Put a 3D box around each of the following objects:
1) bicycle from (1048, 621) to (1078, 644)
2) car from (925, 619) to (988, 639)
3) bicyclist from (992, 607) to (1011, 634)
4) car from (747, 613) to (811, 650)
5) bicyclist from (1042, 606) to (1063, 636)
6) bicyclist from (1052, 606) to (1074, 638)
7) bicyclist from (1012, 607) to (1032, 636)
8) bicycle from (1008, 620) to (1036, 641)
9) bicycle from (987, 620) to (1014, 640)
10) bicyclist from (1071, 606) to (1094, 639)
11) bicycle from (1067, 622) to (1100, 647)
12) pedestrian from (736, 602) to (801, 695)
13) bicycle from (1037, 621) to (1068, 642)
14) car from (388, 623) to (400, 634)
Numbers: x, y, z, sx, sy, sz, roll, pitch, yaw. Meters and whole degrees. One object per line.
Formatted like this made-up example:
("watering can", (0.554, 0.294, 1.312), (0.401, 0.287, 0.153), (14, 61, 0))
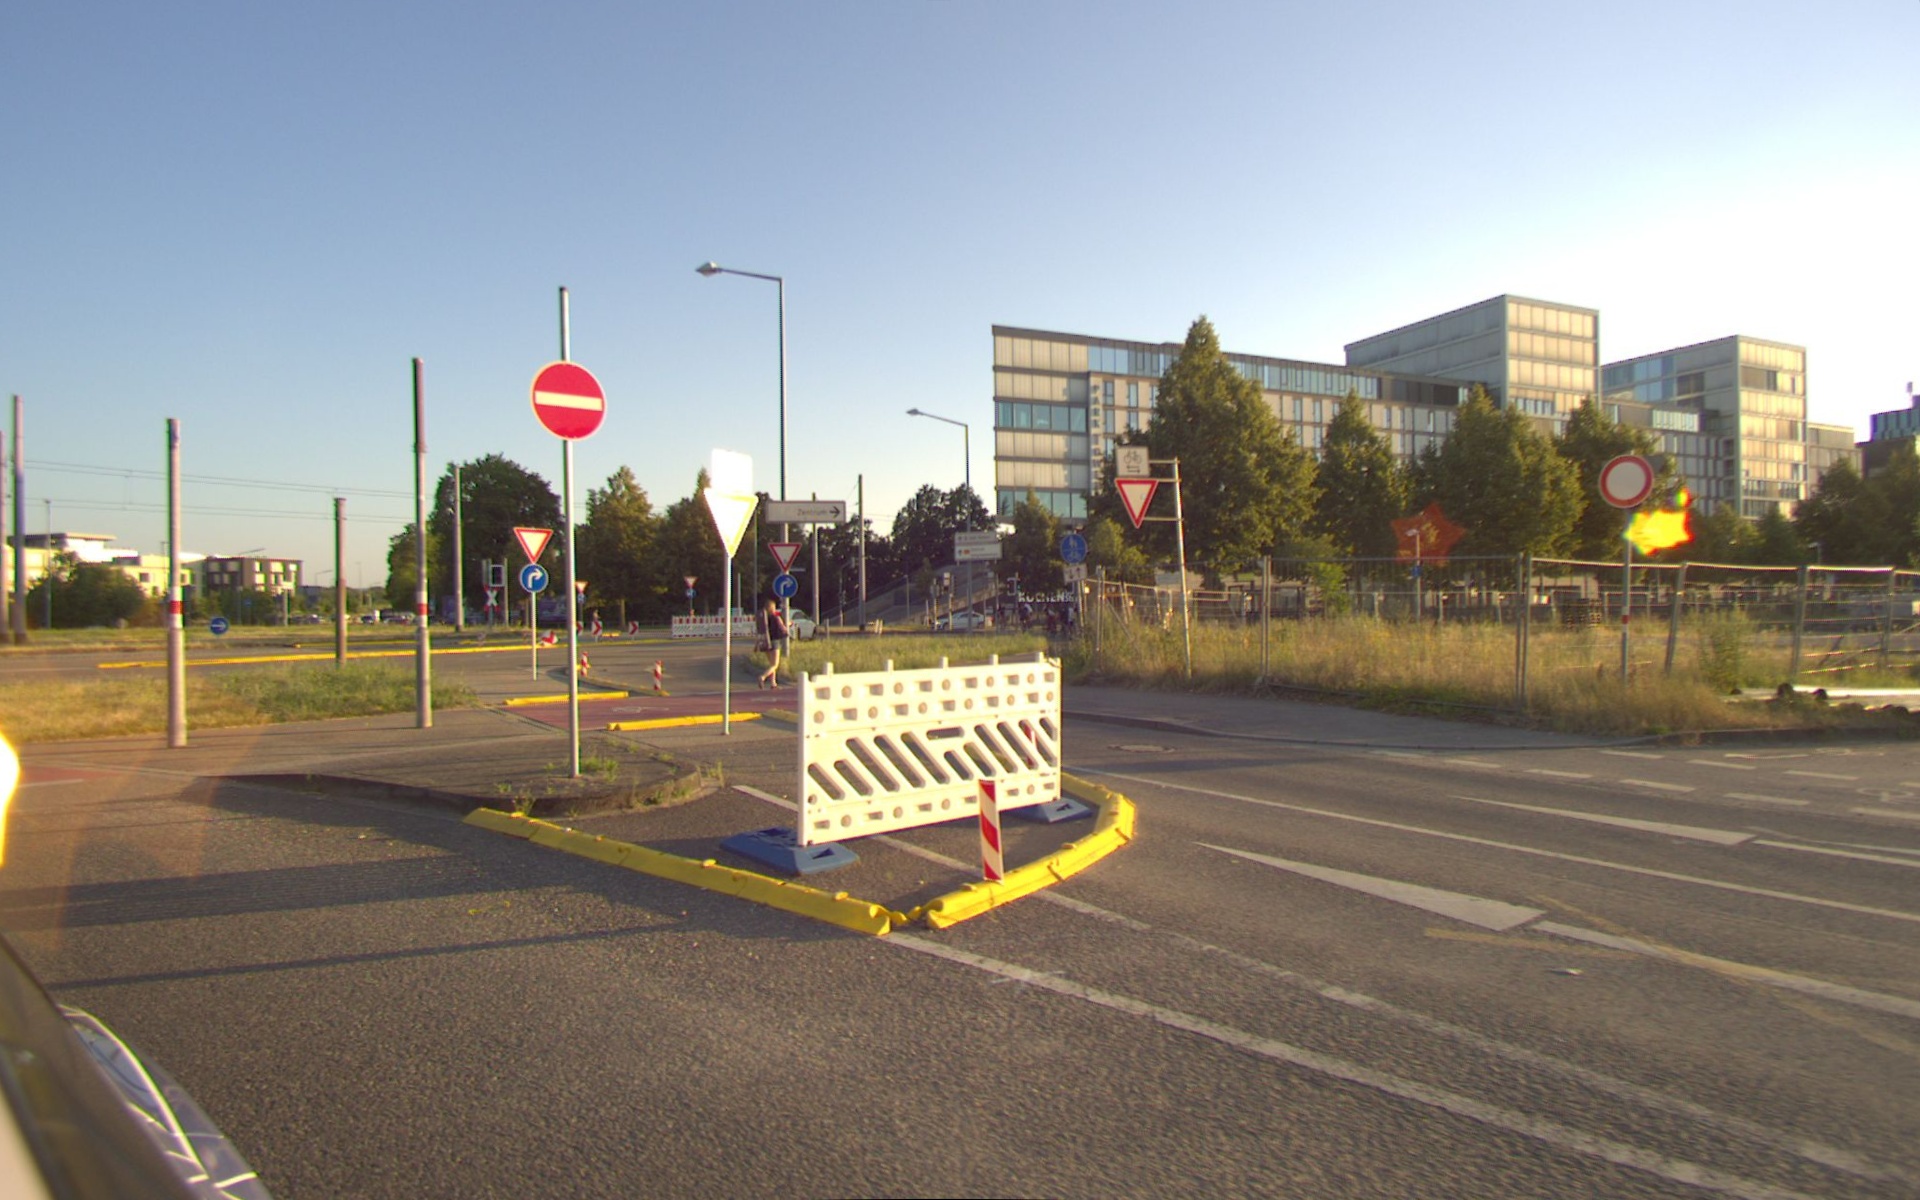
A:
("bicycle", (4.914, 1.539, 48.446), (0.689, 1.052, 2.085), (0, -1, -17))
("car", (-0.275, 2.230, 78.835), (4.513, 1.432, 1.828), (0, -1, -26))
("bicyclist", (2.286, 1.144, 56.048), (0.689, 1.502, 0.977), (0, -1, -21))
("car", (-7.728, 1.338, 43.548), (1.612, 1.475, 3.992), (-1, 0, 6))
("bicyclist", (4.647, 1.073, 51.079), (0.689, 1.502, 0.977), (0, -1, -21))
("bicyclist", (4.916, 1.041, 48.427), (0.689, 1.502, 0.977), (0, -1, -17))
("bicyclist", (3.227, 1.105, 53.022), (0.689, 1.502, 0.977), (0, -1, -21))
("bicycle", (3.237, 1.602, 52.987), (0.689, 1.052, 2.086), (0, -1, -21))
("bicycle", (2.236, 1.643, 56.173), (0.689, 1.052, 2.086), (0, -1, -21))
("bicyclist", (5.552, 1.008, 45.766), (0.689, 1.502, 0.977), (0, -1, -17))
("bicycle", (5.571, 1.539, 45.699), (0.689, 1.052, 2.085), (0, -1, -17))
("pedestrian", (-3.601, 0.899, 19.054), (0.786, 1.708, 0.916), (-1, -2, 35))
("bicycle", (4.656, 1.570, 51.068), (0.689, 1.052, 2.086), (0, -1, -21))
("car", (-109.748, 5.440, 196.237), (1.966, 2.029, 4.012), (0, -1, -29))
